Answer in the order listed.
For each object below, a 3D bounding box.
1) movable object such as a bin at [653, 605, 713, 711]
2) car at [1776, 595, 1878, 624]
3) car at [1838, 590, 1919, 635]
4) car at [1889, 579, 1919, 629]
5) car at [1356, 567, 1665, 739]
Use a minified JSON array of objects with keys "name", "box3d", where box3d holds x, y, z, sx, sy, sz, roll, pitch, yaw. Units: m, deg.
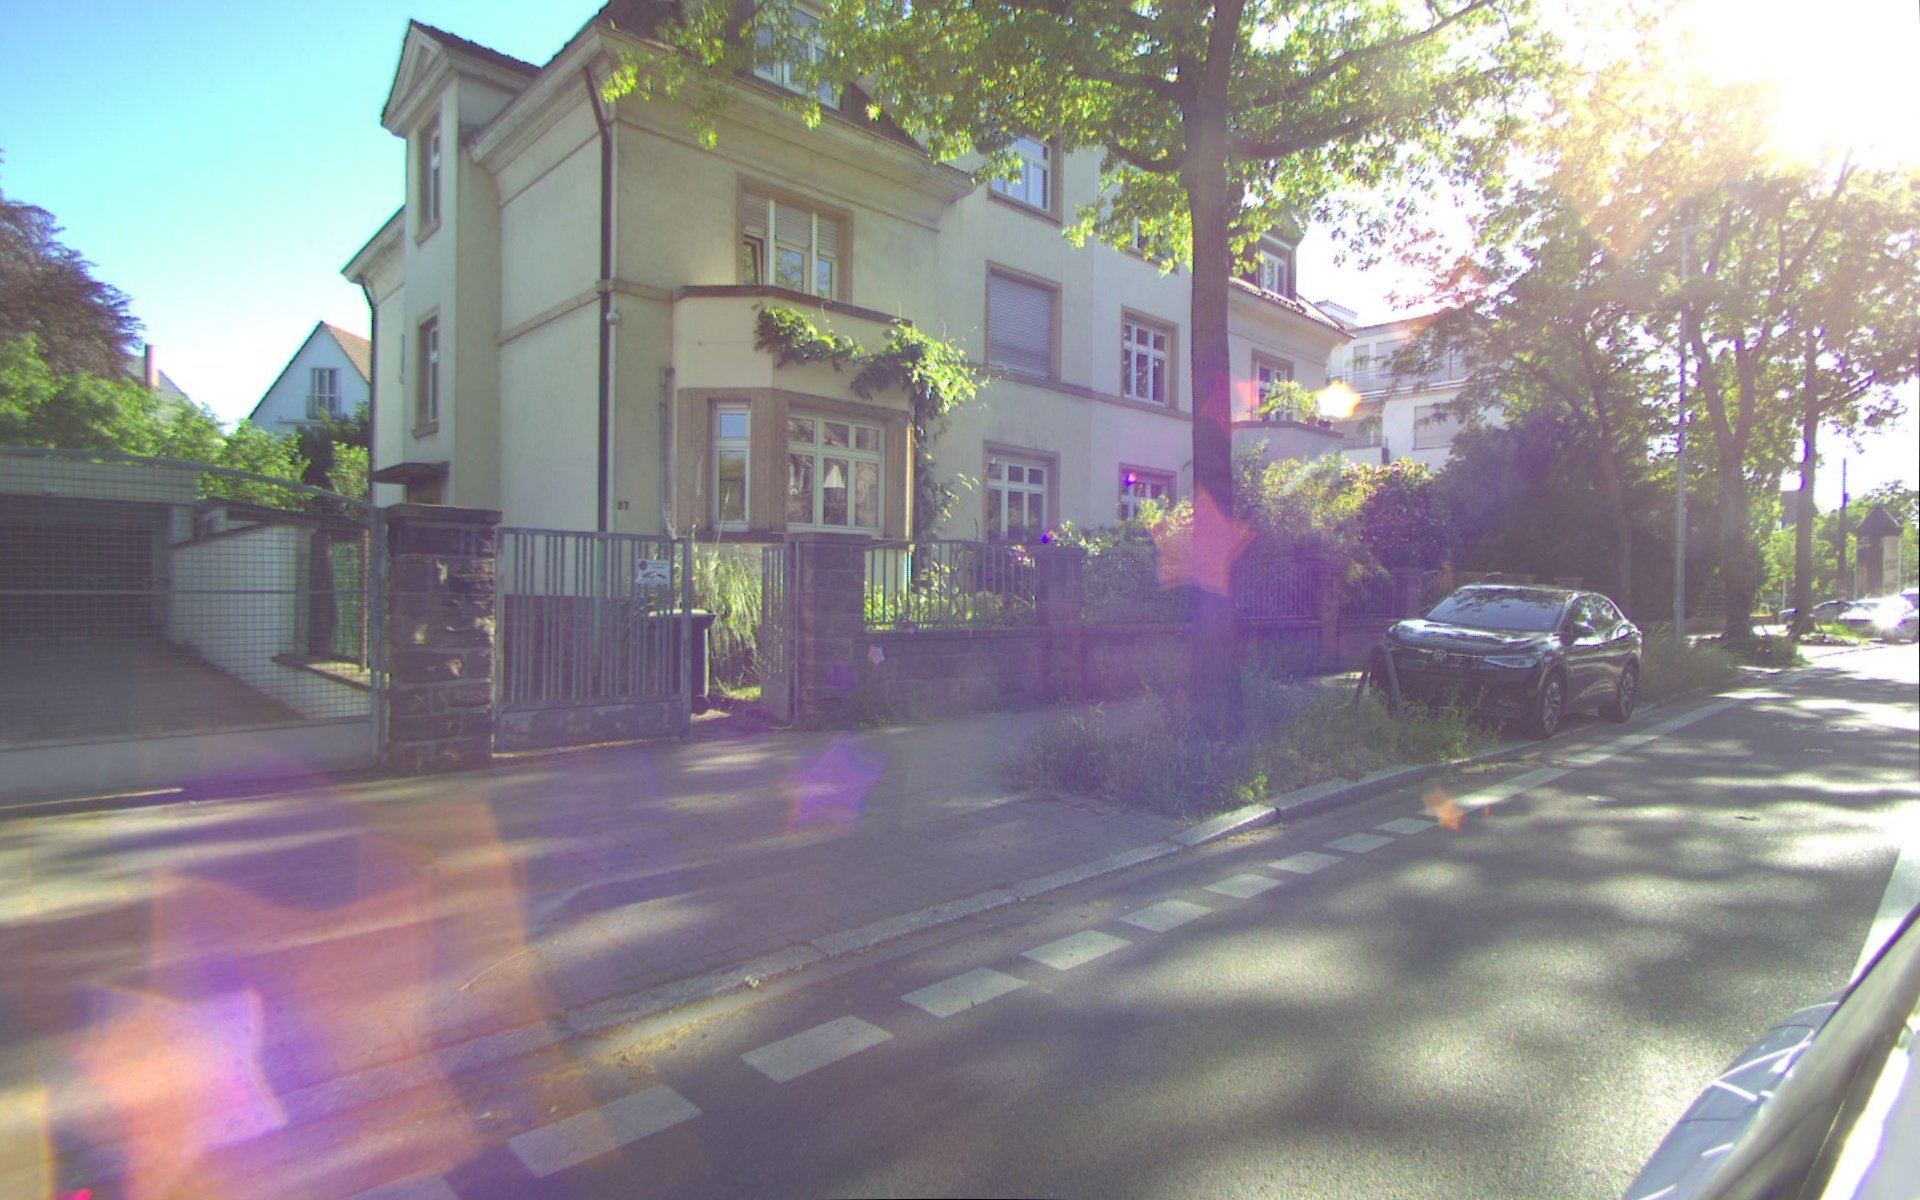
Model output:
[{"name":"movable object such as a bin","box3d":[-2.928,0.589,10.668,0.551,1.062,0.676,0,0,-20]},{"name":"car","box3d":[46.062,0.466,53.835,1.784,1.459,3.990,0,1,-44]},{"name":"car","box3d":[31.507,0.388,34.270,4.181,1.427,1.901,0,1,-38]},{"name":"car","box3d":[36.667,0.135,37.852,4.580,1.808,1.903,0,1,-35]},{"name":"car","box3d":[6.704,0.500,12.133,4.186,1.619,1.917,0,4,-42]}]
